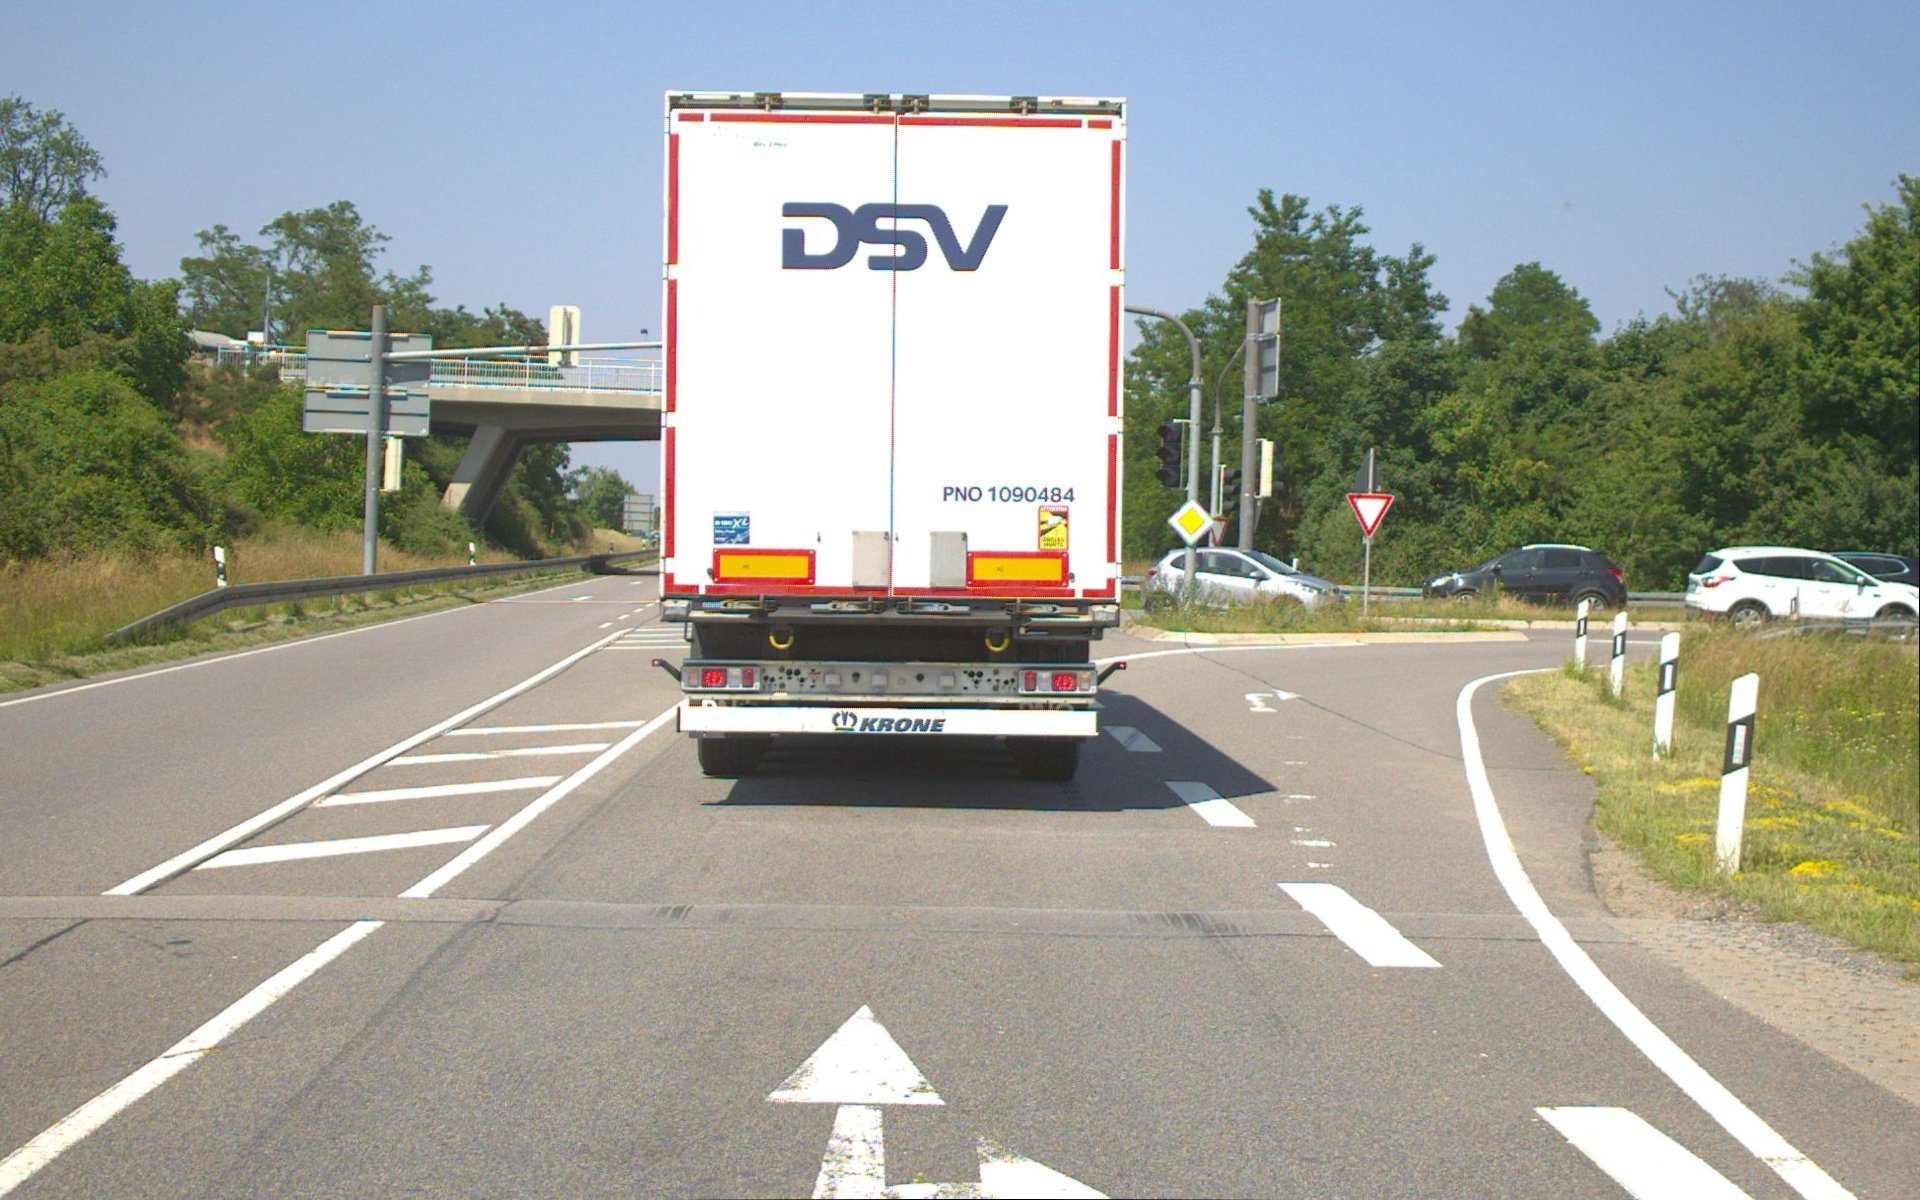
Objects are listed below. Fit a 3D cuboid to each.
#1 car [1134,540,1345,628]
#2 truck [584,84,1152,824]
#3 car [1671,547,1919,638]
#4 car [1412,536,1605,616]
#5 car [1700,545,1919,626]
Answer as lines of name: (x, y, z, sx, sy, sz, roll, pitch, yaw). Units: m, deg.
car: (5.258, -0.310, 64.541, 3.684, 1.561, 1.738, 1, 0, 15)
truck: (-0.571, -0.849, 23.430, 2.987, 3.928, 9.876, 1, 1, -1)
car: (15.418, -0.142, 62.902, 4.469, 1.561, 1.739, 1, 0, 2)
car: (11.805, -0.521, 74.221, 3.986, 1.634, 1.841, 1, 0, 6)
car: (17.960, -0.306, 72.154, 4.486, 1.592, 1.767, 1, 0, 3)
